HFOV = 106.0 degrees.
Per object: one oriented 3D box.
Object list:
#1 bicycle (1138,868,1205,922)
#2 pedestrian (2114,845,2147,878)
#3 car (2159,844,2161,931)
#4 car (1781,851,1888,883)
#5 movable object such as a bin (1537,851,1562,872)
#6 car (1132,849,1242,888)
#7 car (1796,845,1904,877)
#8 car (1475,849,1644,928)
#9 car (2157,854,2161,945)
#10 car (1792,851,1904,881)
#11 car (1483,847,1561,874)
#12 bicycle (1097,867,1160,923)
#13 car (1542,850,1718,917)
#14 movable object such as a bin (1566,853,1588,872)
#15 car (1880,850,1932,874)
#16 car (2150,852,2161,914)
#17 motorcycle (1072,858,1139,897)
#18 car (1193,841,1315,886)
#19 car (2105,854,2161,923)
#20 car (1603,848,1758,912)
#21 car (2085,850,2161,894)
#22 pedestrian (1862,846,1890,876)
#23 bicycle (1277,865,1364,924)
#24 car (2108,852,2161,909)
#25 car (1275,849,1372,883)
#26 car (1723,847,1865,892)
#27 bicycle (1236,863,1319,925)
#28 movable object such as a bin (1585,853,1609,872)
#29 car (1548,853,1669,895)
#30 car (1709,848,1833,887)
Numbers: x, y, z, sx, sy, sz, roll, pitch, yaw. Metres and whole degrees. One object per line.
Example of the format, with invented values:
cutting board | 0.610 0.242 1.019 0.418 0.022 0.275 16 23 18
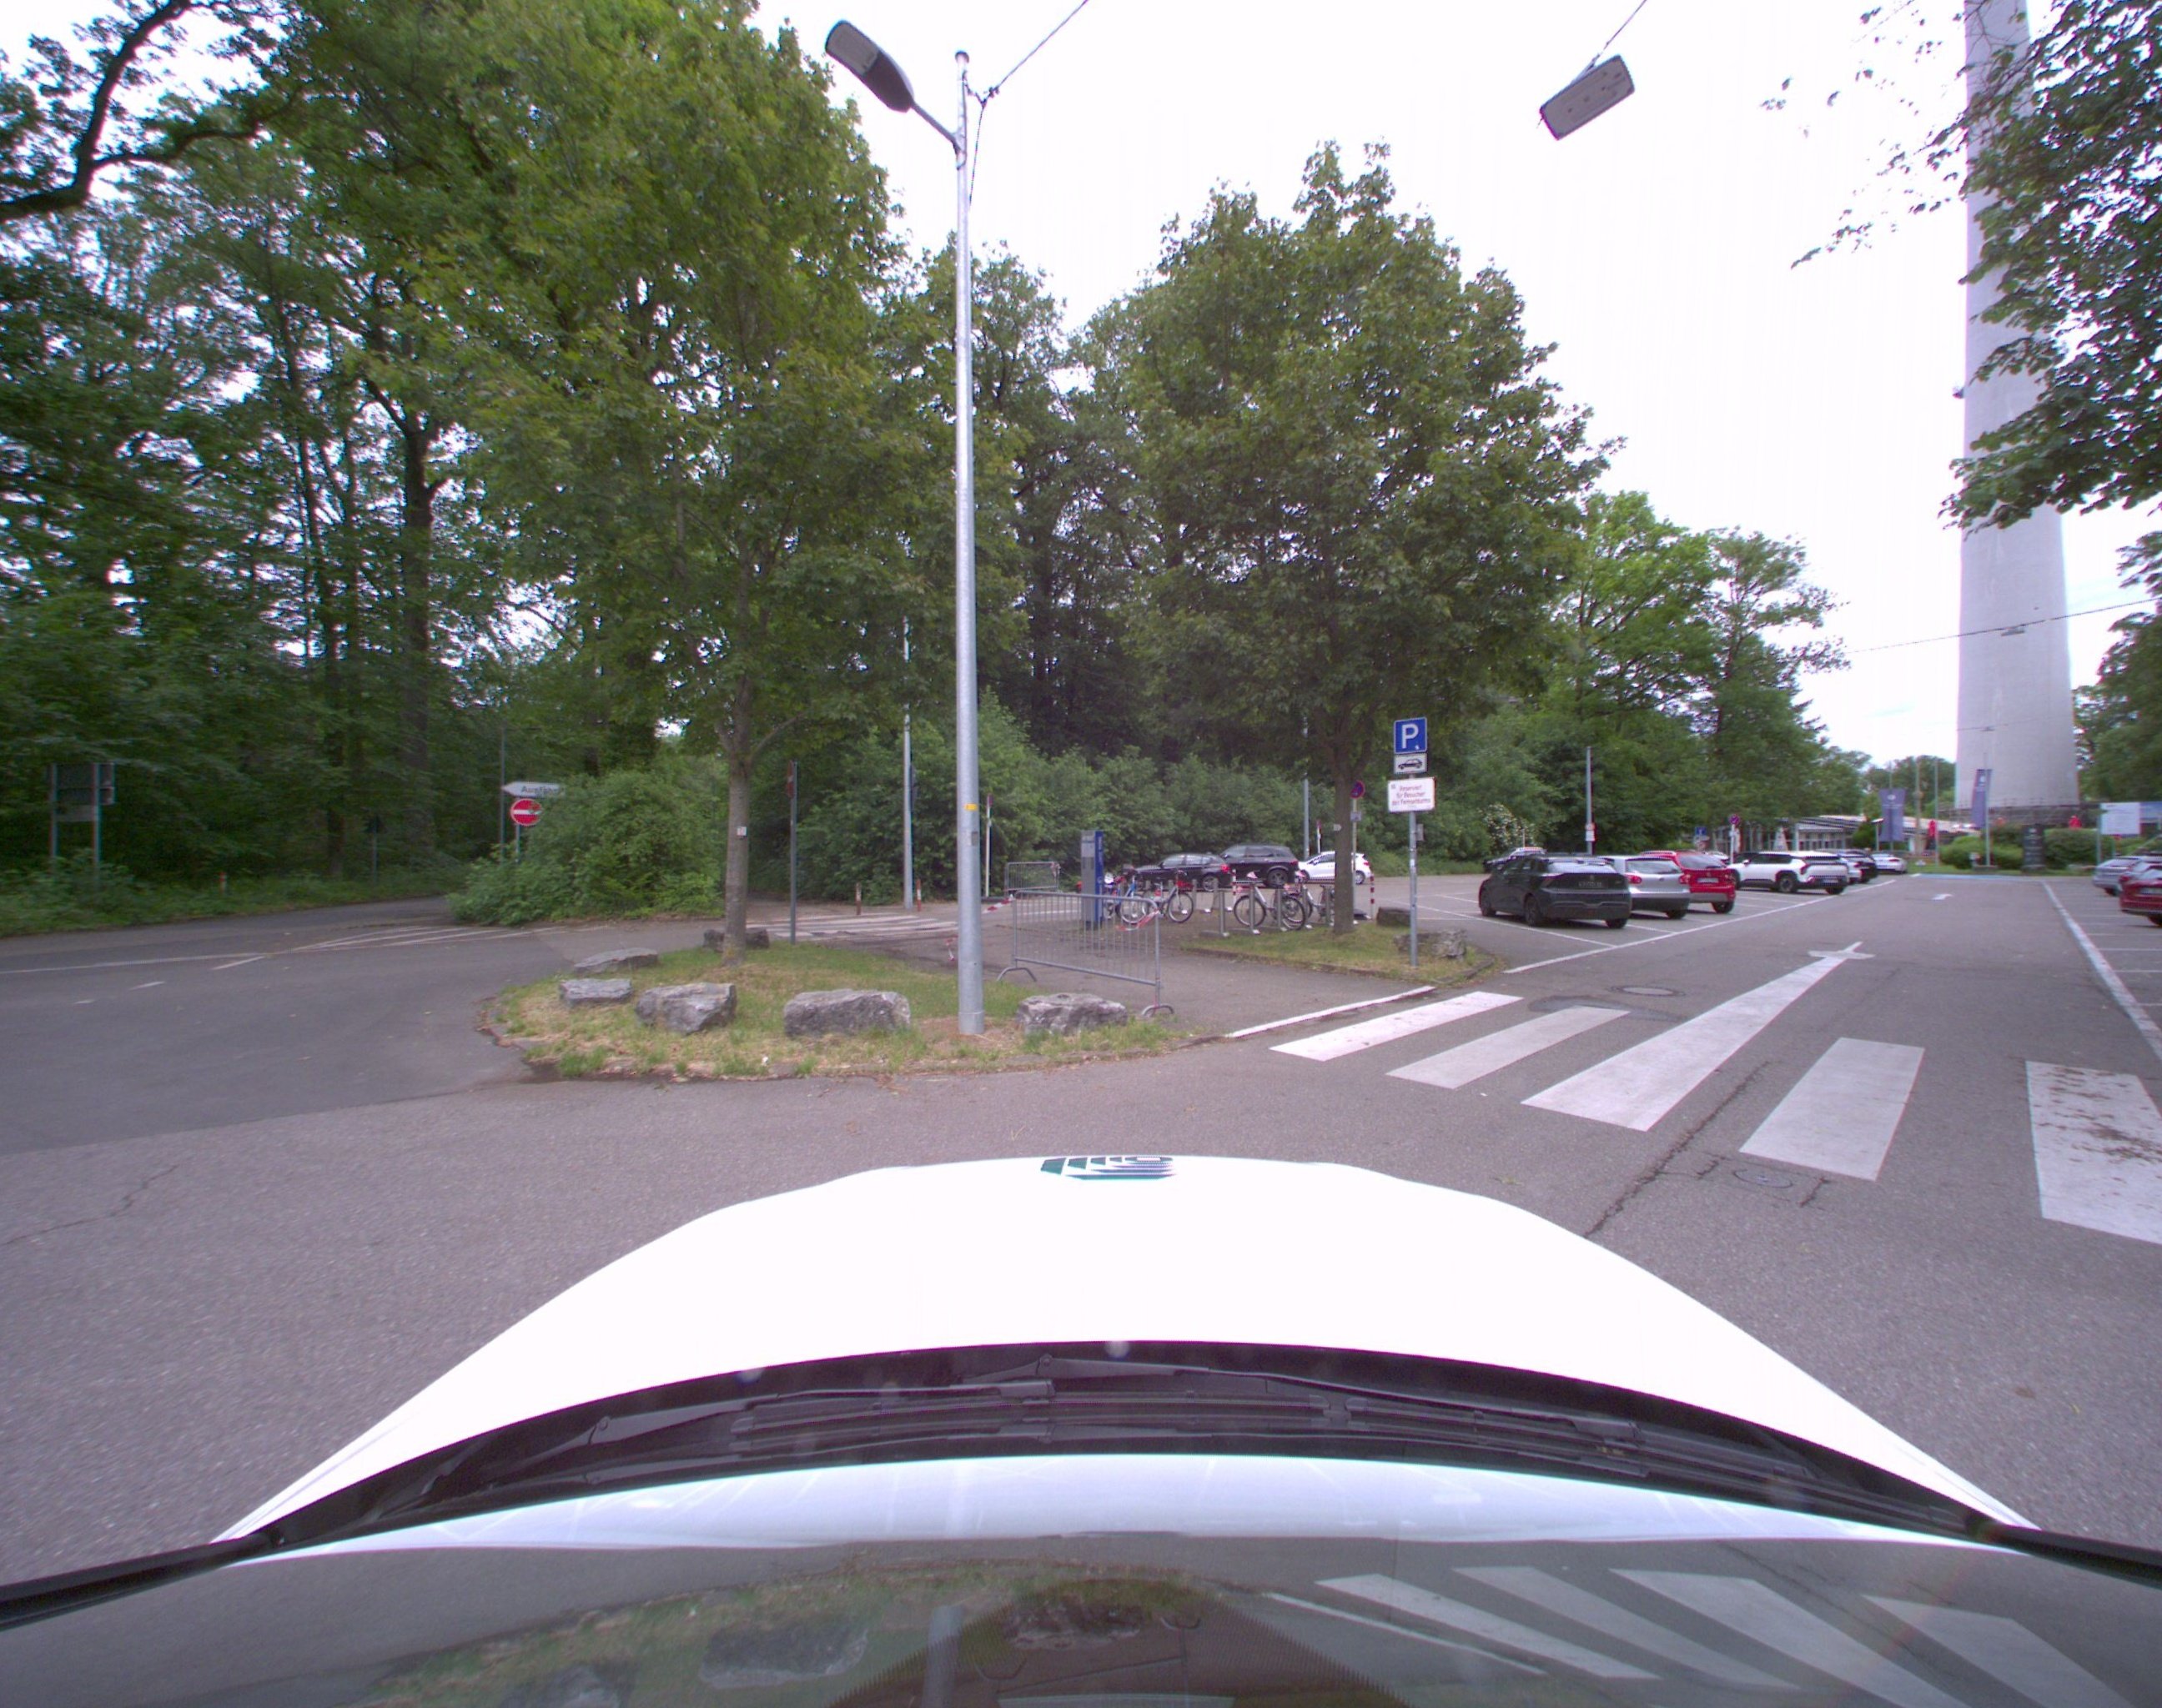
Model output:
bicycle | 1.974 0.875 17.912 0.508 1.111 1.667 0 0 -33
pedestrian | 56.361 0.386 43.747 0.894 1.725 0.762 0 0 -10
car | 21.968 0.636 13.980 4.082 1.618 1.847 0 0 8
car | 35.359 0.564 38.350 1.758 1.443 3.853 0 0 6
movable object such as a bin | 32.849 0.524 57.113 1.135 1.425 1.114 0 0 -36
car | 3.918 0.509 30.285 3.967 1.376 1.743 0 0 6
car | 40.525 0.360 43.096 1.815 1.608 4.393 0 0 4
car | 10.367 0.672 18.018 1.814 1.523 4.110 0 0 8
car | 18.878 0.729 11.652 4.082 1.438 1.874 0 0 8
car | 37.873 0.554 40.352 1.746 1.443 4.283 0 0 4
car | 28.344 0.396 52.498 4.037 1.685 1.884 0 0 7
bicycle | 0.994 0.855 17.442 0.484 1.111 1.680 0 0 -31
car | 13.437 0.661 20.248 1.863 1.483 4.003 0 0 3
movable object such as a bin | 34.330 0.602 56.427 1.114 1.314 1.191 0 0 21
car | 51.237 0.479 50.574 4.020 1.428 1.877 0 0 -39
car | 27.715 0.691 18.775 3.551 1.505 1.739 0 0 7
motorcycle | 0.799 0.752 26.191 2.007 1.207 0.734 0 0 16
car | 6.881 0.373 32.842 4.669 1.767 2.116 0 0 6
car | 24.243 0.713 16.446 4.256 1.414 1.933 0 0 10
car | 16.089 0.640 22.104 1.674 1.585 3.657 0 0 3
car | 38.350 0.600 28.412 3.962 1.467 1.840 0 0 10
pedestrian | 46.081 0.425 47.220 0.889 1.725 0.766 0 0 7
bicycle | 4.865 0.802 16.657 0.485 1.111 1.769 0 0 -36
car | 30.011 0.683 21.133 4.152 1.457 1.808 0 0 5
car | 11.046 0.551 37.318 3.967 1.510 1.873 0 0 6
car | 26.667 0.533 30.664 1.833 1.596 4.194 0 0 3
bicycle | 3.799 0.749 15.870 0.485 1.111 1.666 0 0 -36
movable object such as a bin | 35.426 0.592 55.975 1.159 1.307 1.320 0 0 21
car | 19.224 0.683 29.928 1.856 1.442 4.319 0 0 3
car | 29.322 0.521 34.776 1.862 1.554 3.998 0 0 -1
